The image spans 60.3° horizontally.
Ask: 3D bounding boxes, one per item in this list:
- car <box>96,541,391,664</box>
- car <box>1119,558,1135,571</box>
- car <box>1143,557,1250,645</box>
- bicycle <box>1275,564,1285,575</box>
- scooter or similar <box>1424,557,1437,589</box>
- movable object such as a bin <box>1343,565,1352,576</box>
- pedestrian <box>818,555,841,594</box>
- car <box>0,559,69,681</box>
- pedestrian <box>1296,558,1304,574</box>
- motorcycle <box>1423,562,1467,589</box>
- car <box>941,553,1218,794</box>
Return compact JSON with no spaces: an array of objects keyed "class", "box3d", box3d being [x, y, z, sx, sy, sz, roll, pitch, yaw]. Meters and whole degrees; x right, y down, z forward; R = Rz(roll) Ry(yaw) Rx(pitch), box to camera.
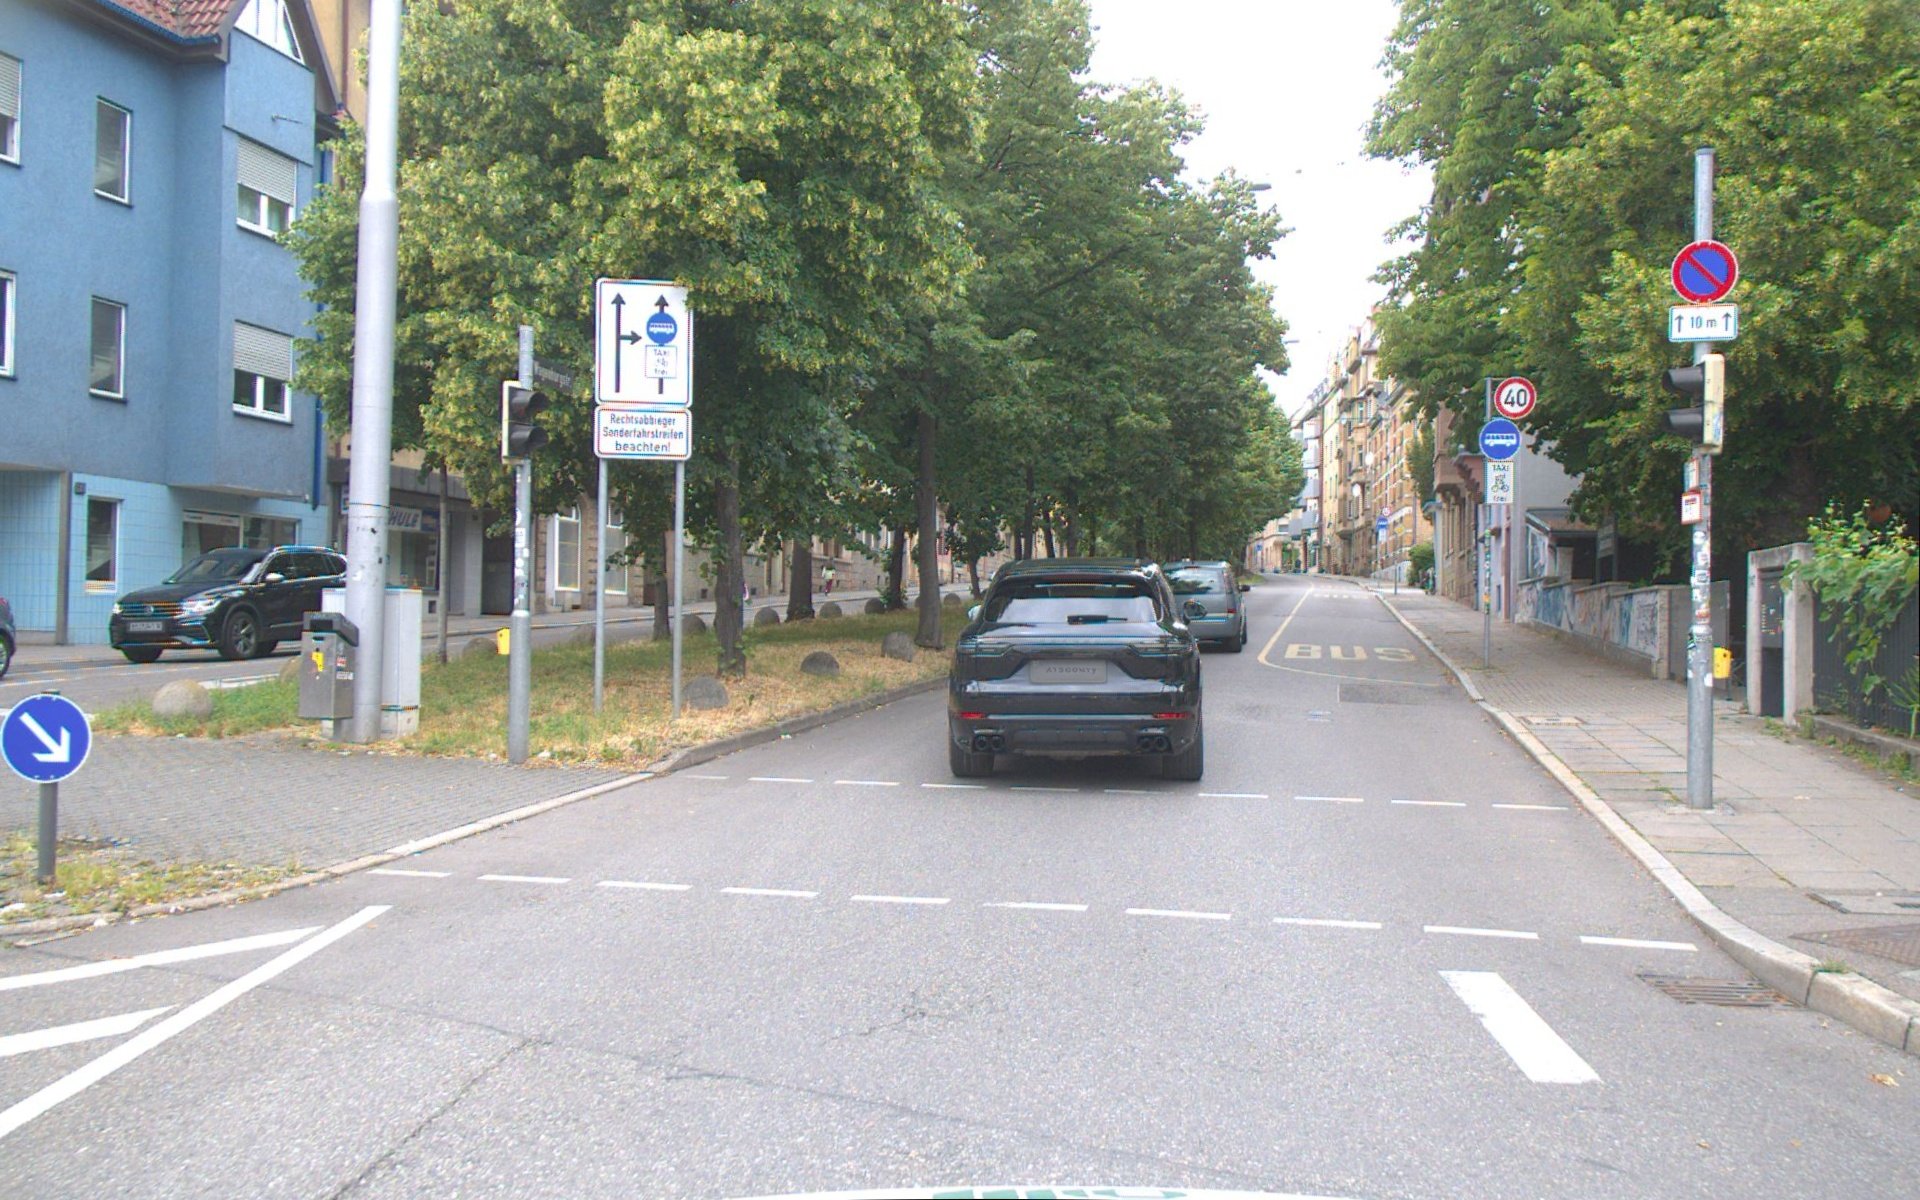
[{"class":"car","box3d":[-10.834,0.031,25.440,1.777,1.665,4.683,-1,0,11]},{"class":"car","box3d":[18.958,-4.024,187.669,1.672,1.406,4.673,-1,2,7]},{"class":"car","box3d":[4.423,0.007,30.623,1.725,1.491,3.595,1,0,12]},{"class":"bicycle","box3d":[37.762,-3.564,195.380,0.860,1.149,2.981,1,-1,5]},{"class":"scooter or similar","box3d":[19.110,-1.099,67.147,0.401,1.230,1.147,-2,4,12]},{"class":"movable object such as a bin","box3d":[31.714,-2.413,135.382,0.581,0.920,0.563,1,1,8]},{"class":"pedestrian","box3d":[-5.089,-0.991,64.601,0.684,1.485,0.705,1,2,13]},{"class":"car","box3d":[-12.203,0.268,18.464,1.633,1.431,4.299,0,1,10]},{"class":"pedestrian","box3d":[36.268,-3.647,176.296,0.735,1.722,0.859,0,-1,7]},{"class":"motorcycle","box3d":[24.804,-1.252,84.687,2.011,1.290,1.011,2,1,9]},{"class":"car","box3d":[1.084,0.471,13.696,1.951,1.694,4.004,0,1,7]}]
